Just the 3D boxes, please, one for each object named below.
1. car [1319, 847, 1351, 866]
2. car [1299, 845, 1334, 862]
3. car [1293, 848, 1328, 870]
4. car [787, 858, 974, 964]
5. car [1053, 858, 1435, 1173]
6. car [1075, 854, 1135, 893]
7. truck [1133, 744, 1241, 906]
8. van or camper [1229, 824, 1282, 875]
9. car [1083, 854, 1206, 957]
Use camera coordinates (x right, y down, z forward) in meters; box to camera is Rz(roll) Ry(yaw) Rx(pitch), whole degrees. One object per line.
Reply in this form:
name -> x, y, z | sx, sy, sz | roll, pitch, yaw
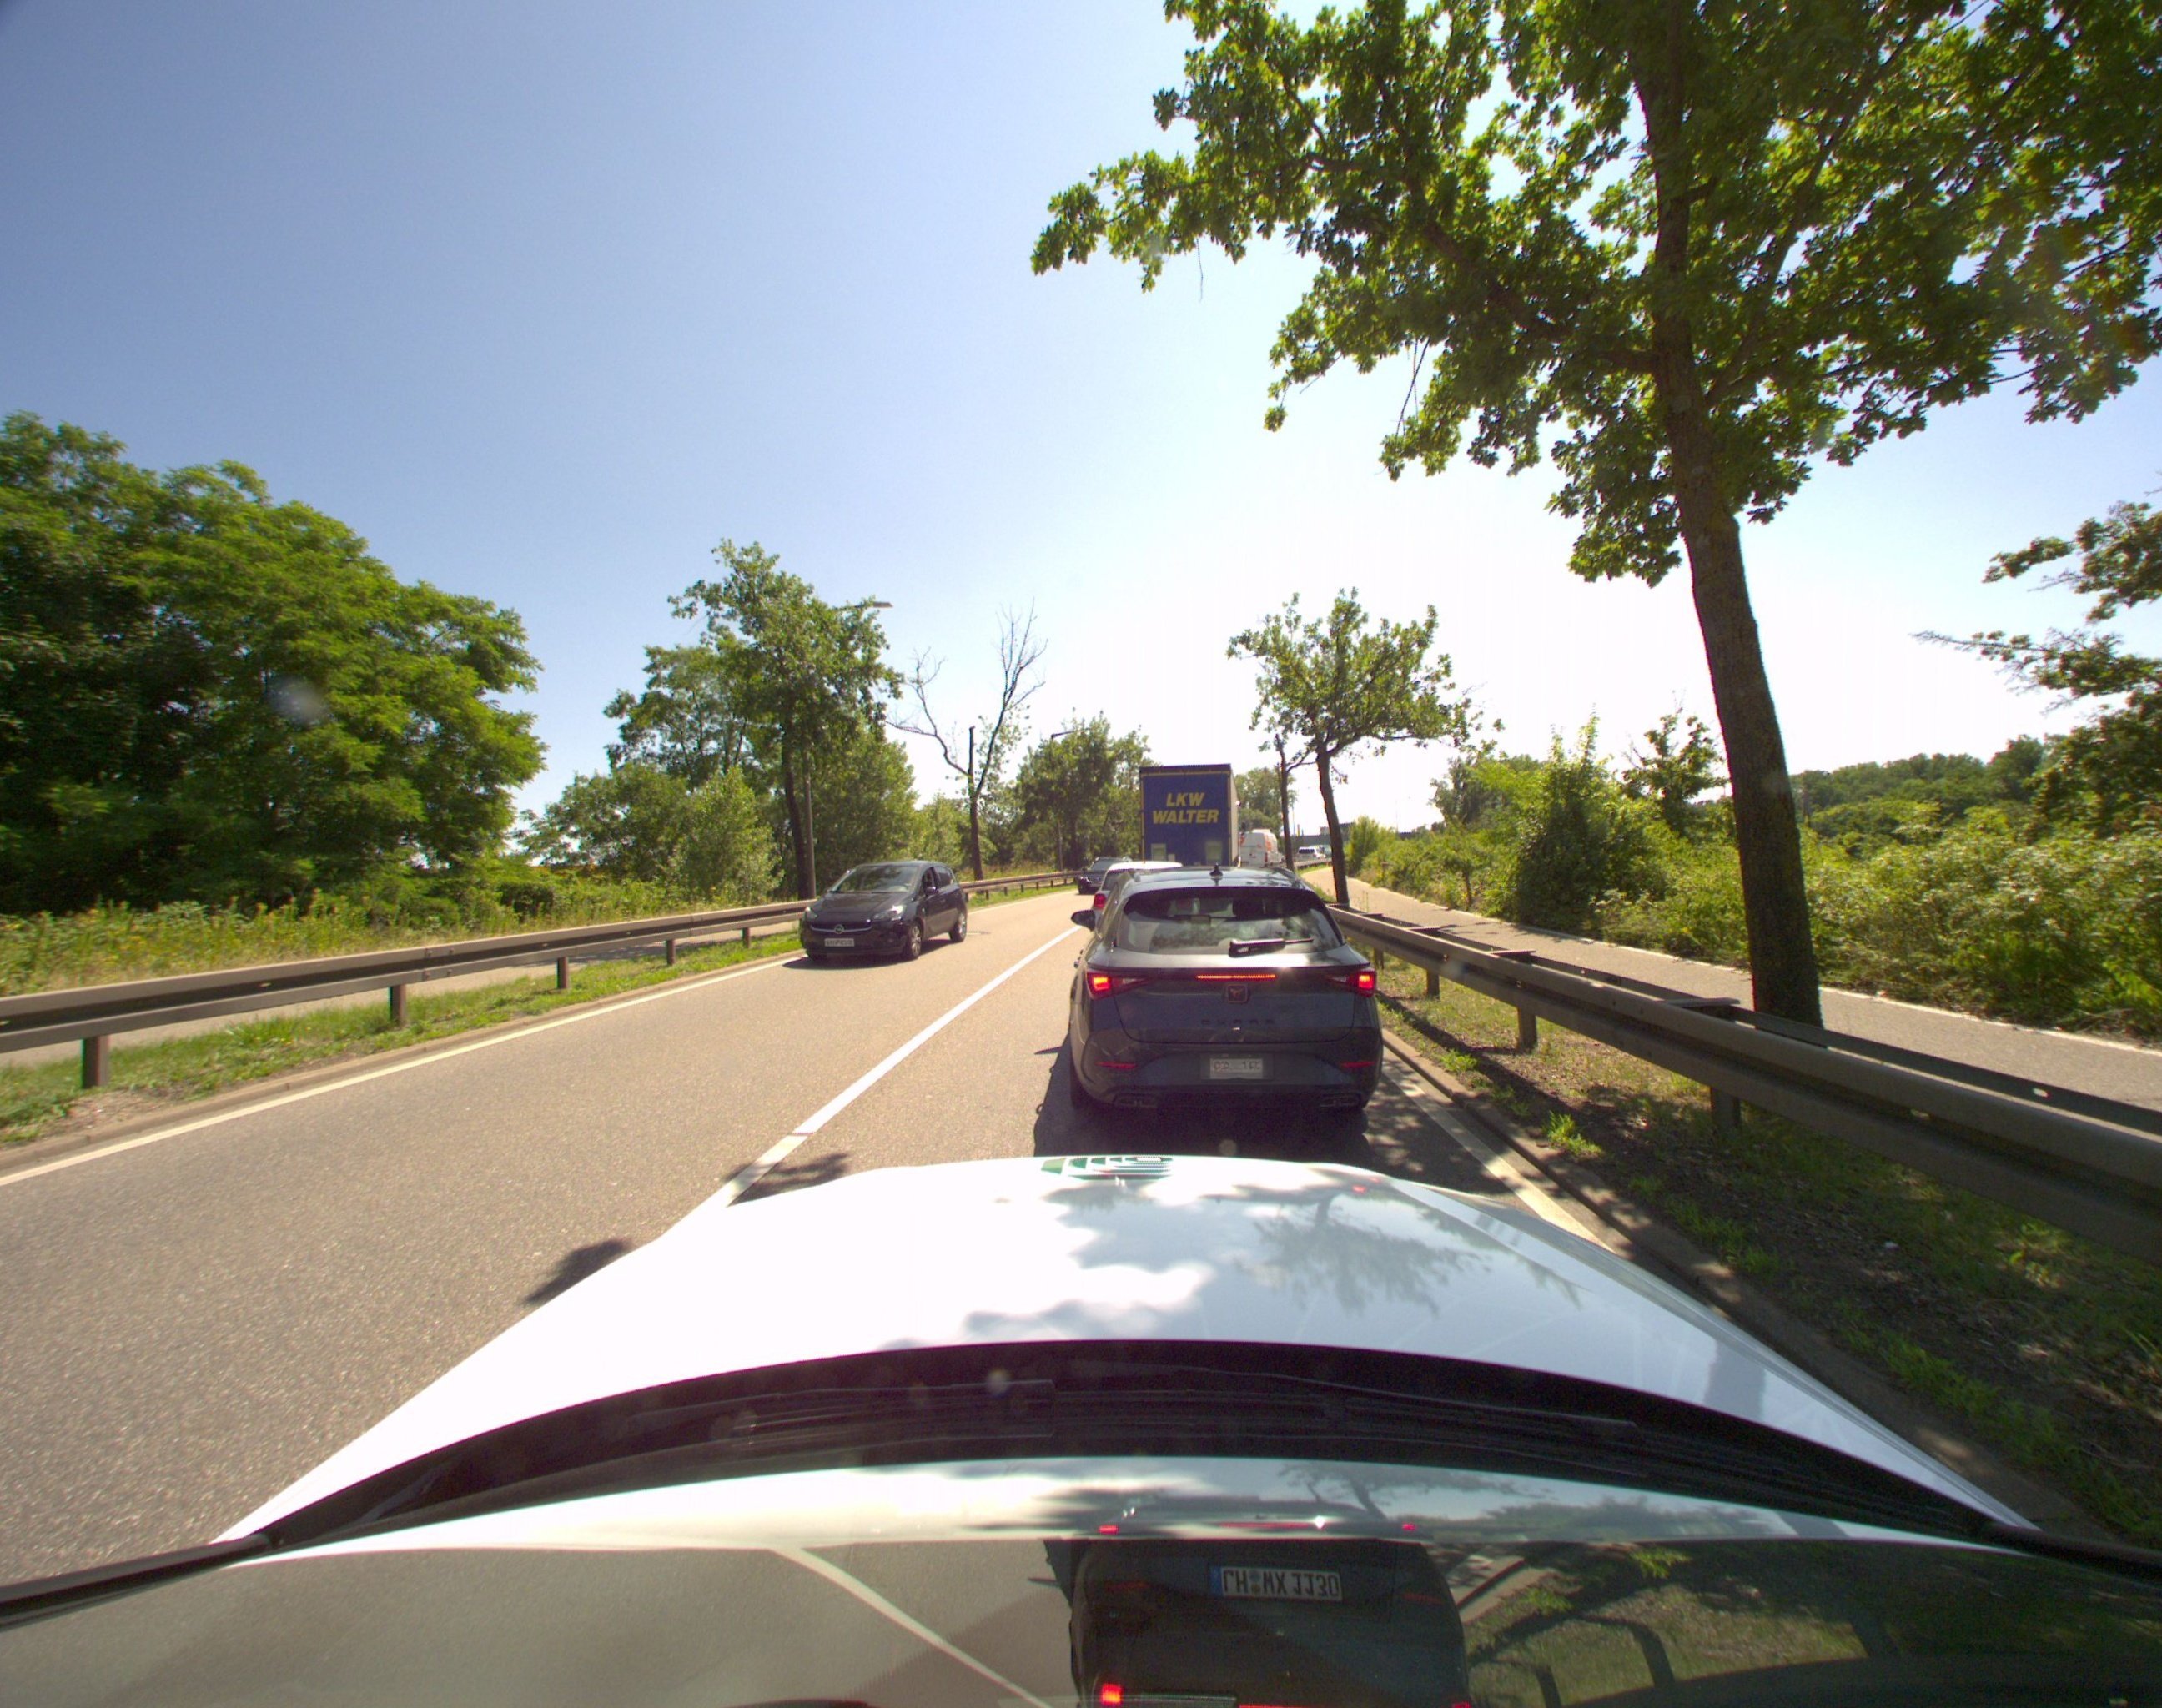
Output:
car -> 24.705, 0.229, 79.096 | 1.974, 1.808, 4.875 | -1, 0, 30
car -> 24.486, -0.070, 84.515 | 2.109, 1.681, 4.910 | -1, 0, 33
car -> 18.813, 0.384, 66.633 | 1.975, 1.712, 4.647 | -1, 0, 26
car -> -3.084, 0.817, 13.369 | 1.662, 1.466, 3.828 | -1, 0, 8
car -> 0.824, 0.757, 5.694 | 1.737, 1.432, 3.882 | -1, 0, 2
car -> 1.037, 0.741, 32.953 | 1.849, 1.421, 4.268 | -1, 0, 9
truck -> 4.510, -0.765, 30.884 | 2.931, 4.449, 16.848 | -1, 0, 11
van or camper -> 11.036, -0.279, 51.125 | 2.446, 2.998, 6.116 | -1, 0, 20
car -> 1.036, 0.765, 14.033 | 1.802, 1.508, 4.003 | -1, 0, 3
